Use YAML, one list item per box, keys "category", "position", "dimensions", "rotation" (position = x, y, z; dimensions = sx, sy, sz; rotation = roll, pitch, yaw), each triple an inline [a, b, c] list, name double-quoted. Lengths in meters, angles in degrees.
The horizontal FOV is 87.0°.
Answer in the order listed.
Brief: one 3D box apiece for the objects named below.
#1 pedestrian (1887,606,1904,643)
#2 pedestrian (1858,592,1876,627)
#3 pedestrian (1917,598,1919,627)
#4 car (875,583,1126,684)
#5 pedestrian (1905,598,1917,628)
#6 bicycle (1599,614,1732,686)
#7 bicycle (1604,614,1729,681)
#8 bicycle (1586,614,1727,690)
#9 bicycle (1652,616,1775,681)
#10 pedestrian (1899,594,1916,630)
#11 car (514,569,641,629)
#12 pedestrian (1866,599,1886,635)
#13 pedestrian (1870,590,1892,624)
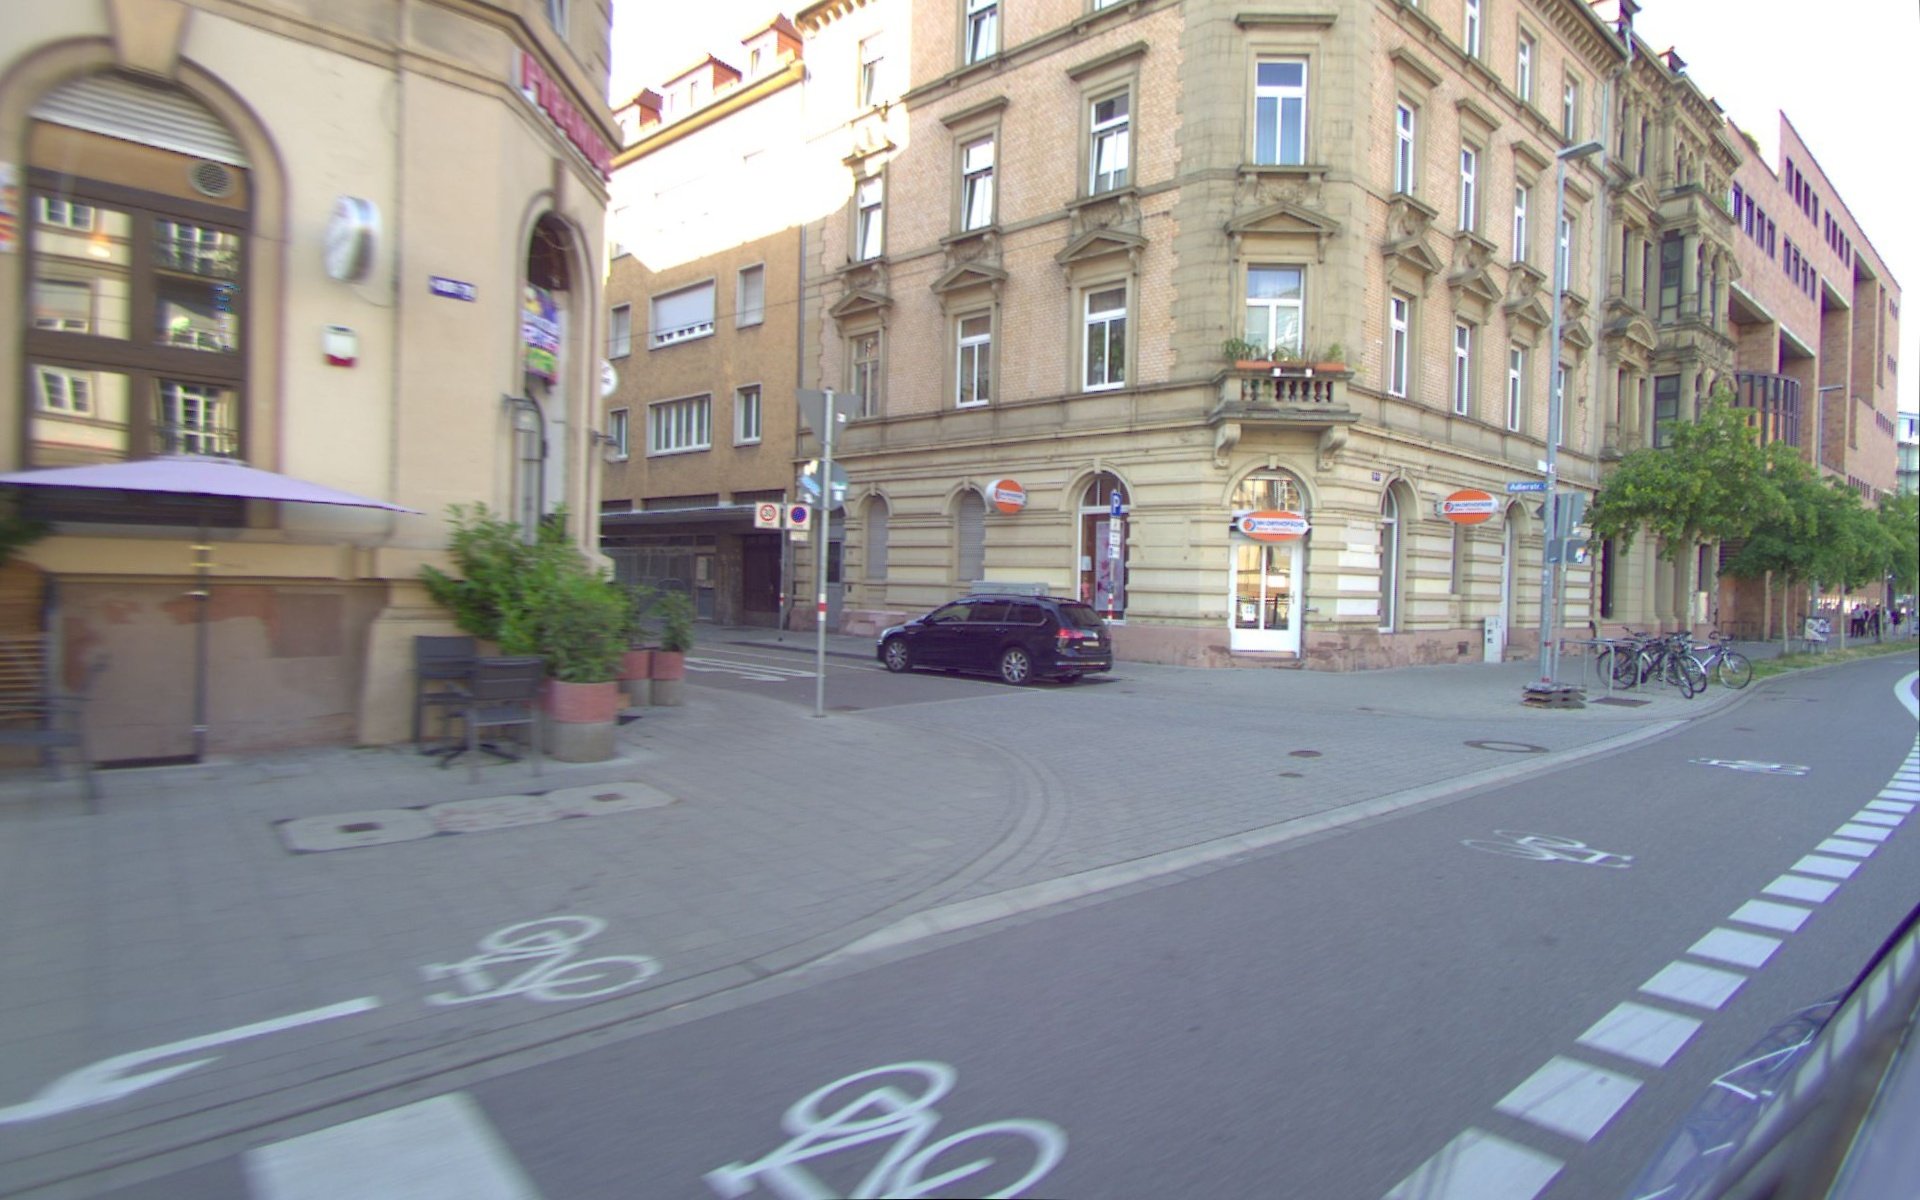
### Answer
- category: "pedestrian"
  position: [46.870, 1.222, 50.717]
  dimensions: [0.456, 1.778, 0.537]
  rotation: [1, 1, -40]
- category: "pedestrian"
  position: [45.972, 0.487, 51.301]
  dimensions: [0.534, 1.778, 0.417]
  rotation: [2, 1, 31]
- category: "pedestrian"
  position: [58.818, 0.773, 61.545]
  dimensions: [0.561, 1.735, 0.642]
  rotation: [1, 1, -11]
- category: "car"
  position: [0.606, 0.474, 17.258]
  dimensions: [4.134, 1.404, 1.596]
  rotation: [3, 3, 39]
- category: "pedestrian"
  position: [56.833, 0.775, 60.462]
  dimensions: [0.528, 1.778, 0.422]
  rotation: [1, 1, -37]
- category: "bicycle"
  position: [12.760, 0.878, 18.338]
  dimensions: [0.653, 1.077, 1.827]
  rotation: [2, 3, -45]
- category: "bicycle"
  position: [13.574, 0.894, 19.485]
  dimensions: [0.653, 1.077, 1.827]
  rotation: [2, 3, -45]
- category: "bicycle"
  position: [11.812, 0.857, 17.215]
  dimensions: [0.653, 1.077, 1.827]
  rotation: [2, 3, -45]
- category: "bicycle"
  position: [14.882, 0.937, 20.021]
  dimensions: [0.653, 1.077, 1.827]
  rotation: [2, 3, -45]
- category: "pedestrian"
  position: [48.513, 0.616, 51.835]
  dimensions: [0.683, 1.778, 0.537]
  rotation: [1, 1, -41]
- category: "car"
  position: [-10.207, -0.060, 26.913]
  dimensions: [3.495, 1.438, 1.596]
  rotation: [3, 1, 39]
- category: "pedestrian"
  position: [47.102, 0.872, 52.055]
  dimensions: [0.681, 1.778, 0.539]
  rotation: [1, 1, -30]
- category: "pedestrian"
  position: [48.653, 0.349, 53.446]
  dimensions: [0.683, 1.778, 0.734]
  rotation: [1, 1, -38]
